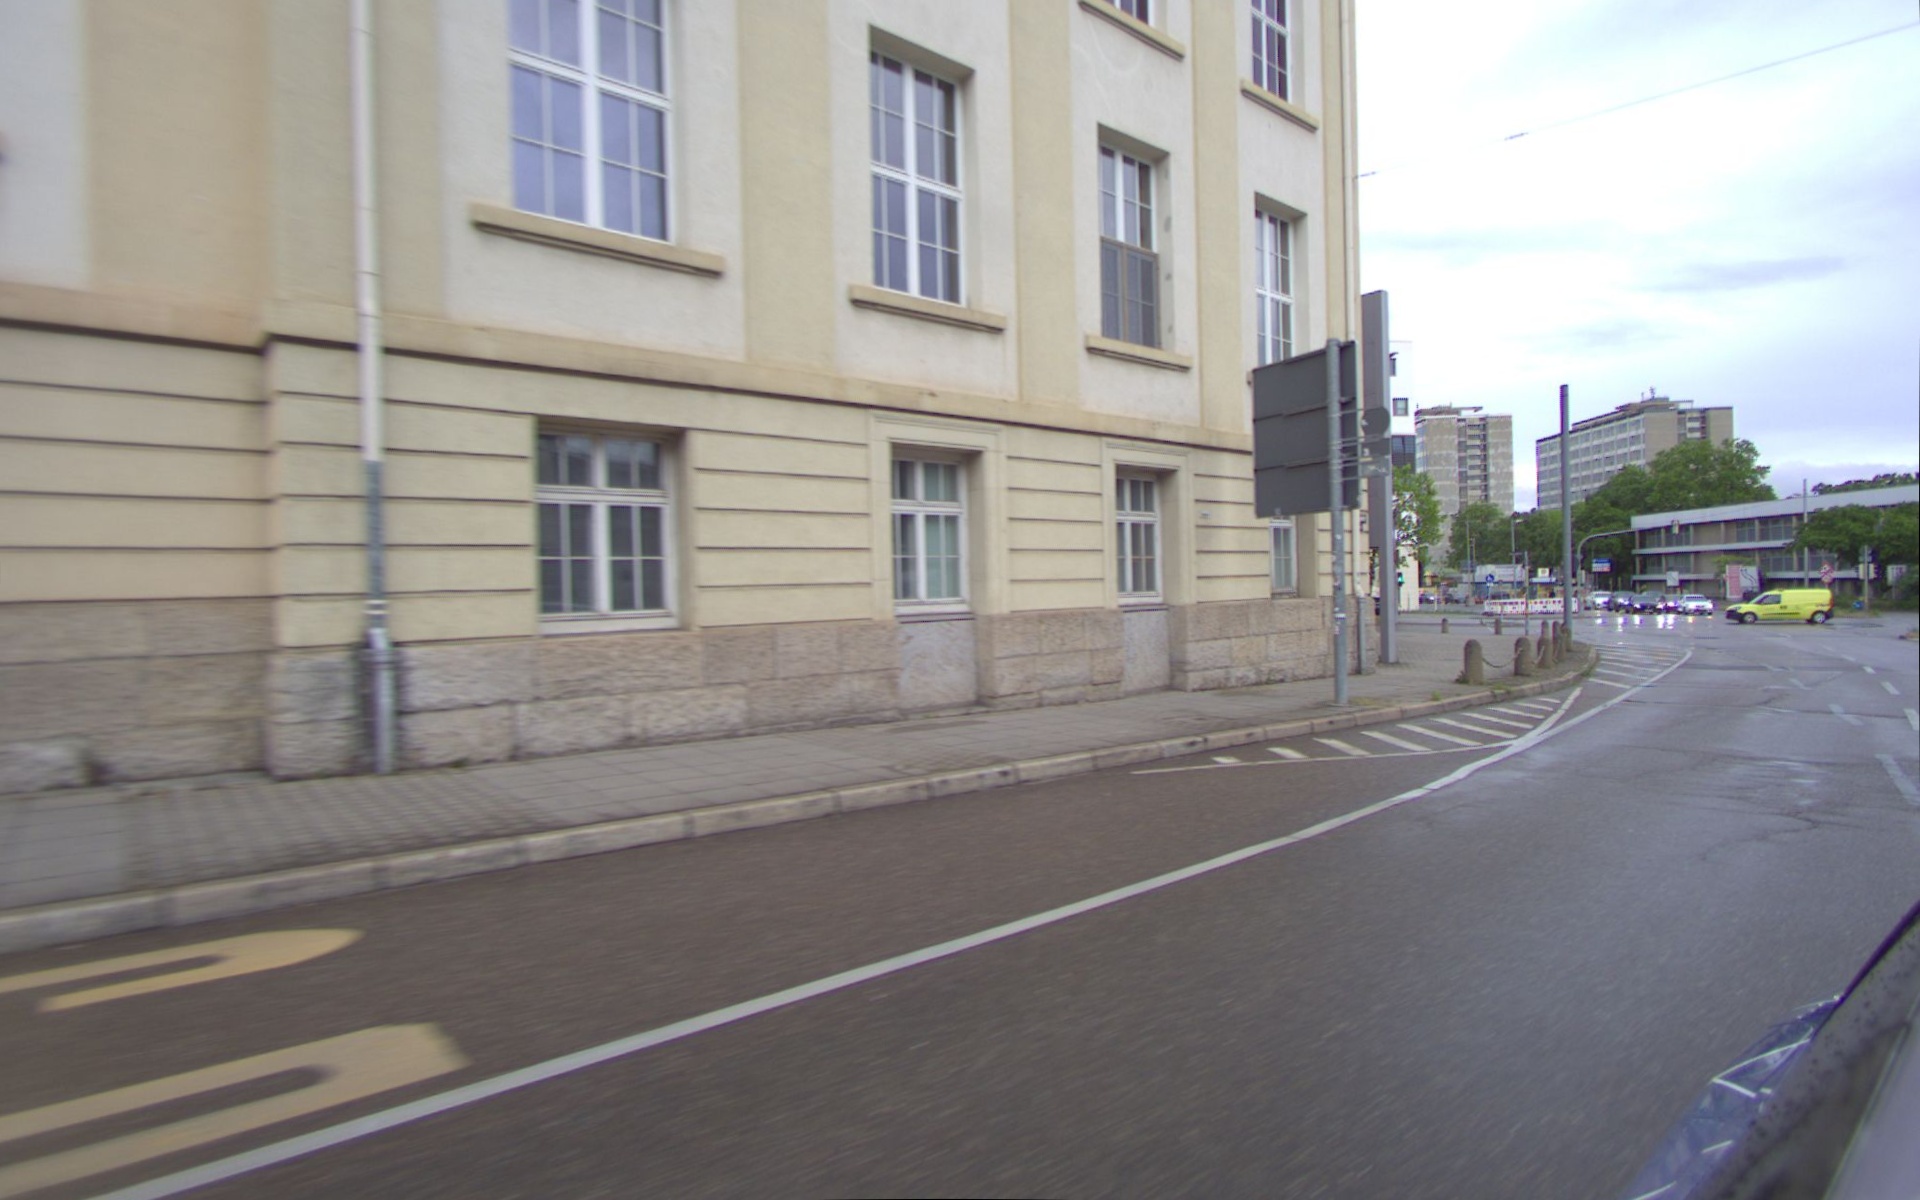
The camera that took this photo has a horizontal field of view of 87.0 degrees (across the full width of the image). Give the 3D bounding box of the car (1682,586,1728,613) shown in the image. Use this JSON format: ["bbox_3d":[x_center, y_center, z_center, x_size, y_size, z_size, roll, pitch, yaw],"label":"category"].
[{"bbox_3d":[54.327,-0.039,73.875,2.057,1.935,4.519,0,0,27],"label":"car"}]

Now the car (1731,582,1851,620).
[{"bbox_3d":[45.911,0.025,56.063,4.781,2.033,2.101,0,0,30],"label":"car"}]

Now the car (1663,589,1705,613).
[{"bbox_3d":[56.835,0.050,79.493,2.057,1.850,4.519,0,0,27],"label":"car"}]

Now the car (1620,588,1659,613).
[{"bbox_3d":[54.887,0.030,81.811,2.057,1.935,4.519,0,0,27],"label":"car"}]

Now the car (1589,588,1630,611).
[{"bbox_3d":[58.146,-0.064,90.676,2.050,1.935,4.536,0,0,18],"label":"car"}]

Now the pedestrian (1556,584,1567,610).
[{"bbox_3d":[47.596,-0.211,80.062,0.636,2.039,0.590,0,0,25],"label":"pedestrian"}]

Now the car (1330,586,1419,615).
[{"bbox_3d":[26.774,0.026,65.551,5.228,1.824,2.035,0,0,21],"label":"car"}]

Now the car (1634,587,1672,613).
[{"bbox_3d":[51.905,0.004,75.878,1.866,1.892,4.306,0,0,27],"label":"car"}]

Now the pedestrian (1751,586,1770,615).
[{"bbox_3d":[51.769,0.023,65.444,0.900,1.819,0.533,-3,-1,44],"label":"pedestrian"}]
